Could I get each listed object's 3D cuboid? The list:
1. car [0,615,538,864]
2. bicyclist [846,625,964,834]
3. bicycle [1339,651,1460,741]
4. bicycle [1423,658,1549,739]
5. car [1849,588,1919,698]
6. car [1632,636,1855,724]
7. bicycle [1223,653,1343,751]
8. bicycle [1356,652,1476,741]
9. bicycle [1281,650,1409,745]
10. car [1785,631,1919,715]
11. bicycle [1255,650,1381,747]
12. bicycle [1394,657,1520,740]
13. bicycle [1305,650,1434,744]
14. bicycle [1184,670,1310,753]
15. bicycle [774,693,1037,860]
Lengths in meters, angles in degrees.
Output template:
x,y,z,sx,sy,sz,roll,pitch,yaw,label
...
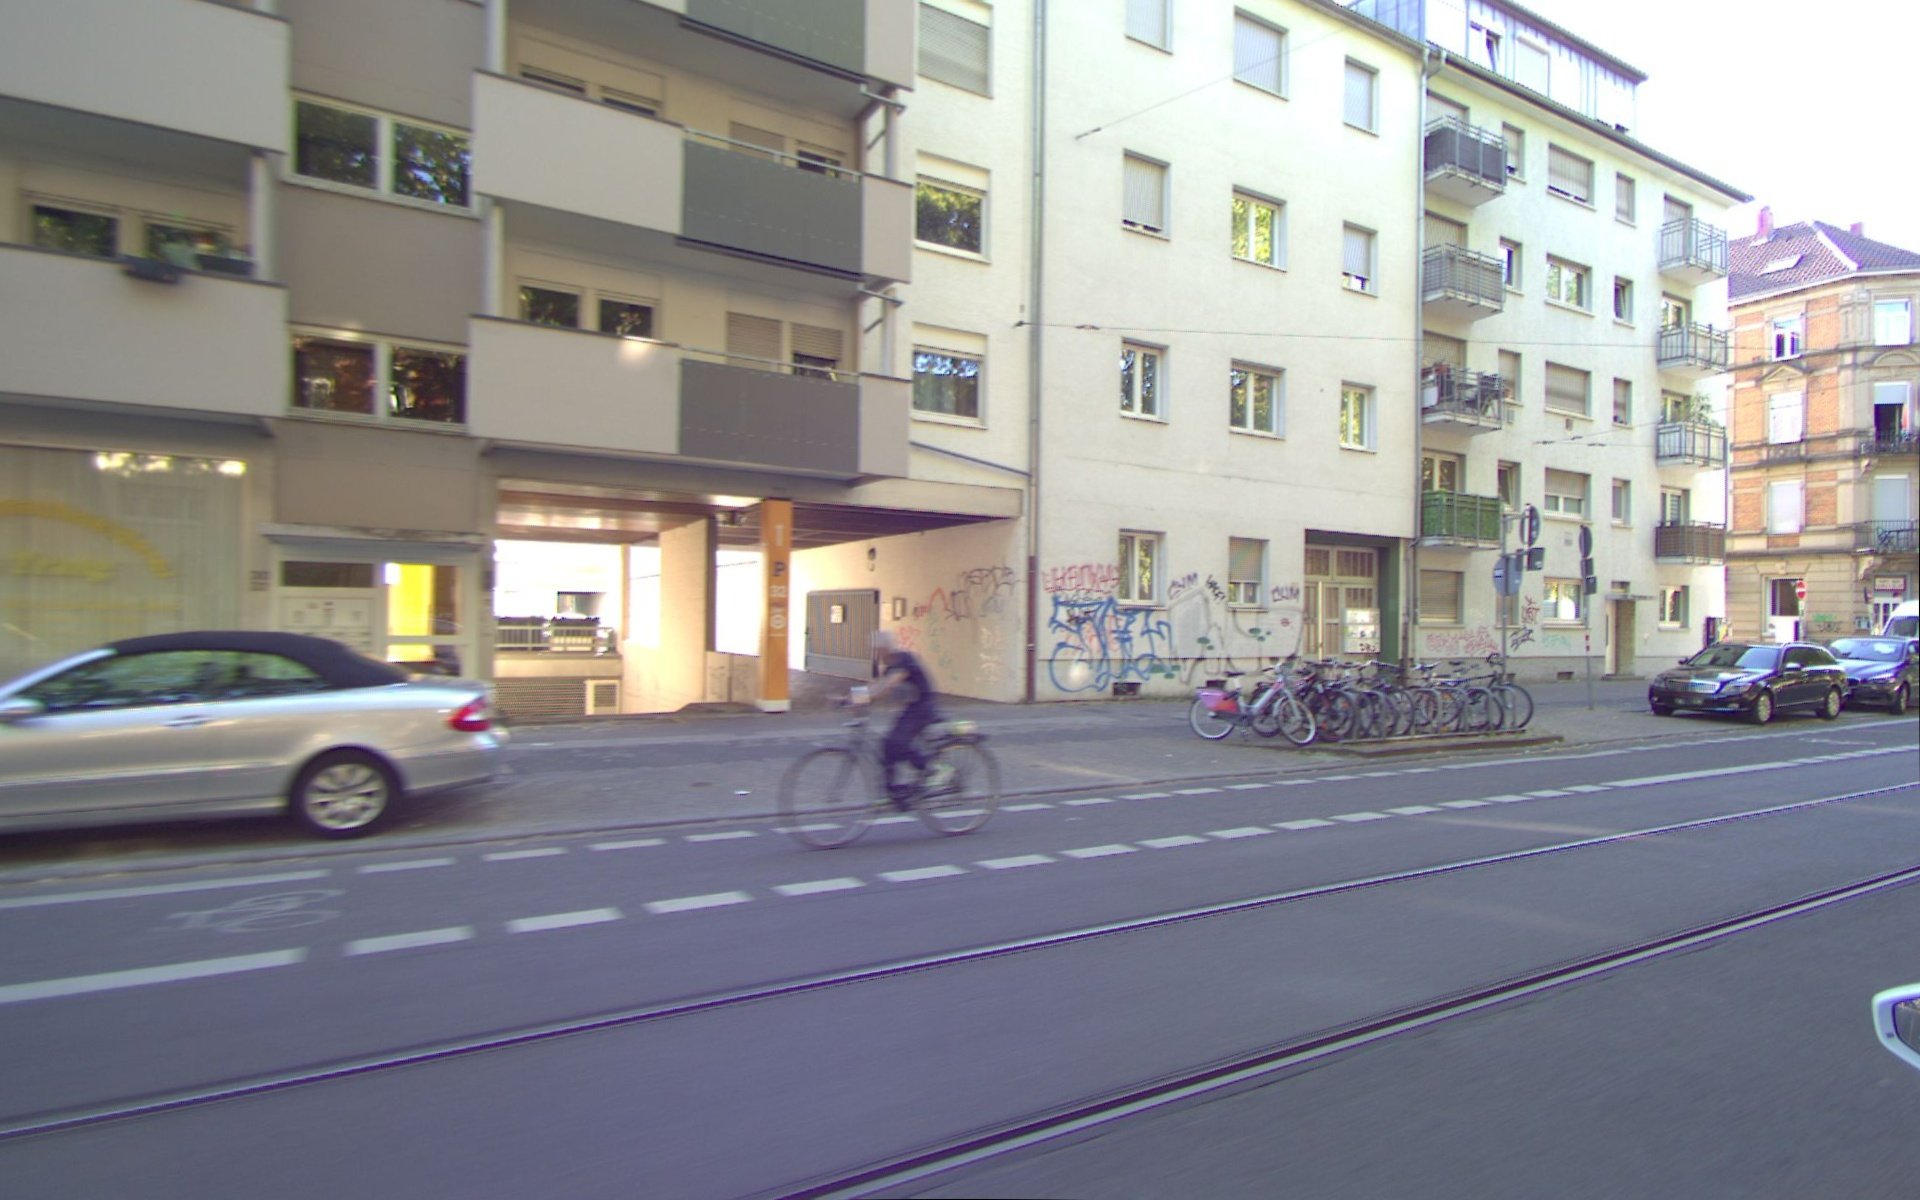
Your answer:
x,y,z,sx,sy,sz,roll,pitch,yaw,label
-5.664,0.882,7.241,4.671,1.511,1.682,1,-1,-30,car
-0.399,0.898,7.238,0.701,1.412,0.506,1,-3,-30,bicyclist
6.386,1.359,14.700,0.418,1.134,1.815,1,0,-22,bicycle
8.053,1.472,15.468,0.396,1.051,1.889,1,0,-22,bicycle
24.703,1.073,25.020,5.596,2.569,2.056,1,-1,-29,car
14.958,1.457,19.119,4.515,1.475,1.711,1,-1,-29,car
4.333,1.339,13.627,0.396,1.134,1.889,1,0,-22,bicycle
6.674,1.386,14.804,0.418,1.134,1.785,1,0,-22,bicycle
5.369,1.332,14.143,0.433,1.134,1.956,1,0,-22,bicycle
20.050,1.536,22.040,4.298,1.653,1.709,1,-1,-32,car
4.899,1.319,13.893,0.433,1.134,1.926,1,0,-22,bicycle
7.472,1.456,15.198,0.396,1.051,1.889,1,0,-22,bicycle
5.799,1.343,14.359,0.418,1.134,1.964,1,0,-22,bicycle
3.798,1.453,13.389,1.601,0.929,0.400,2,0,44,bicycle
-0.351,1.219,7.264,1.924,1.031,0.415,1,-3,-30,bicycle
